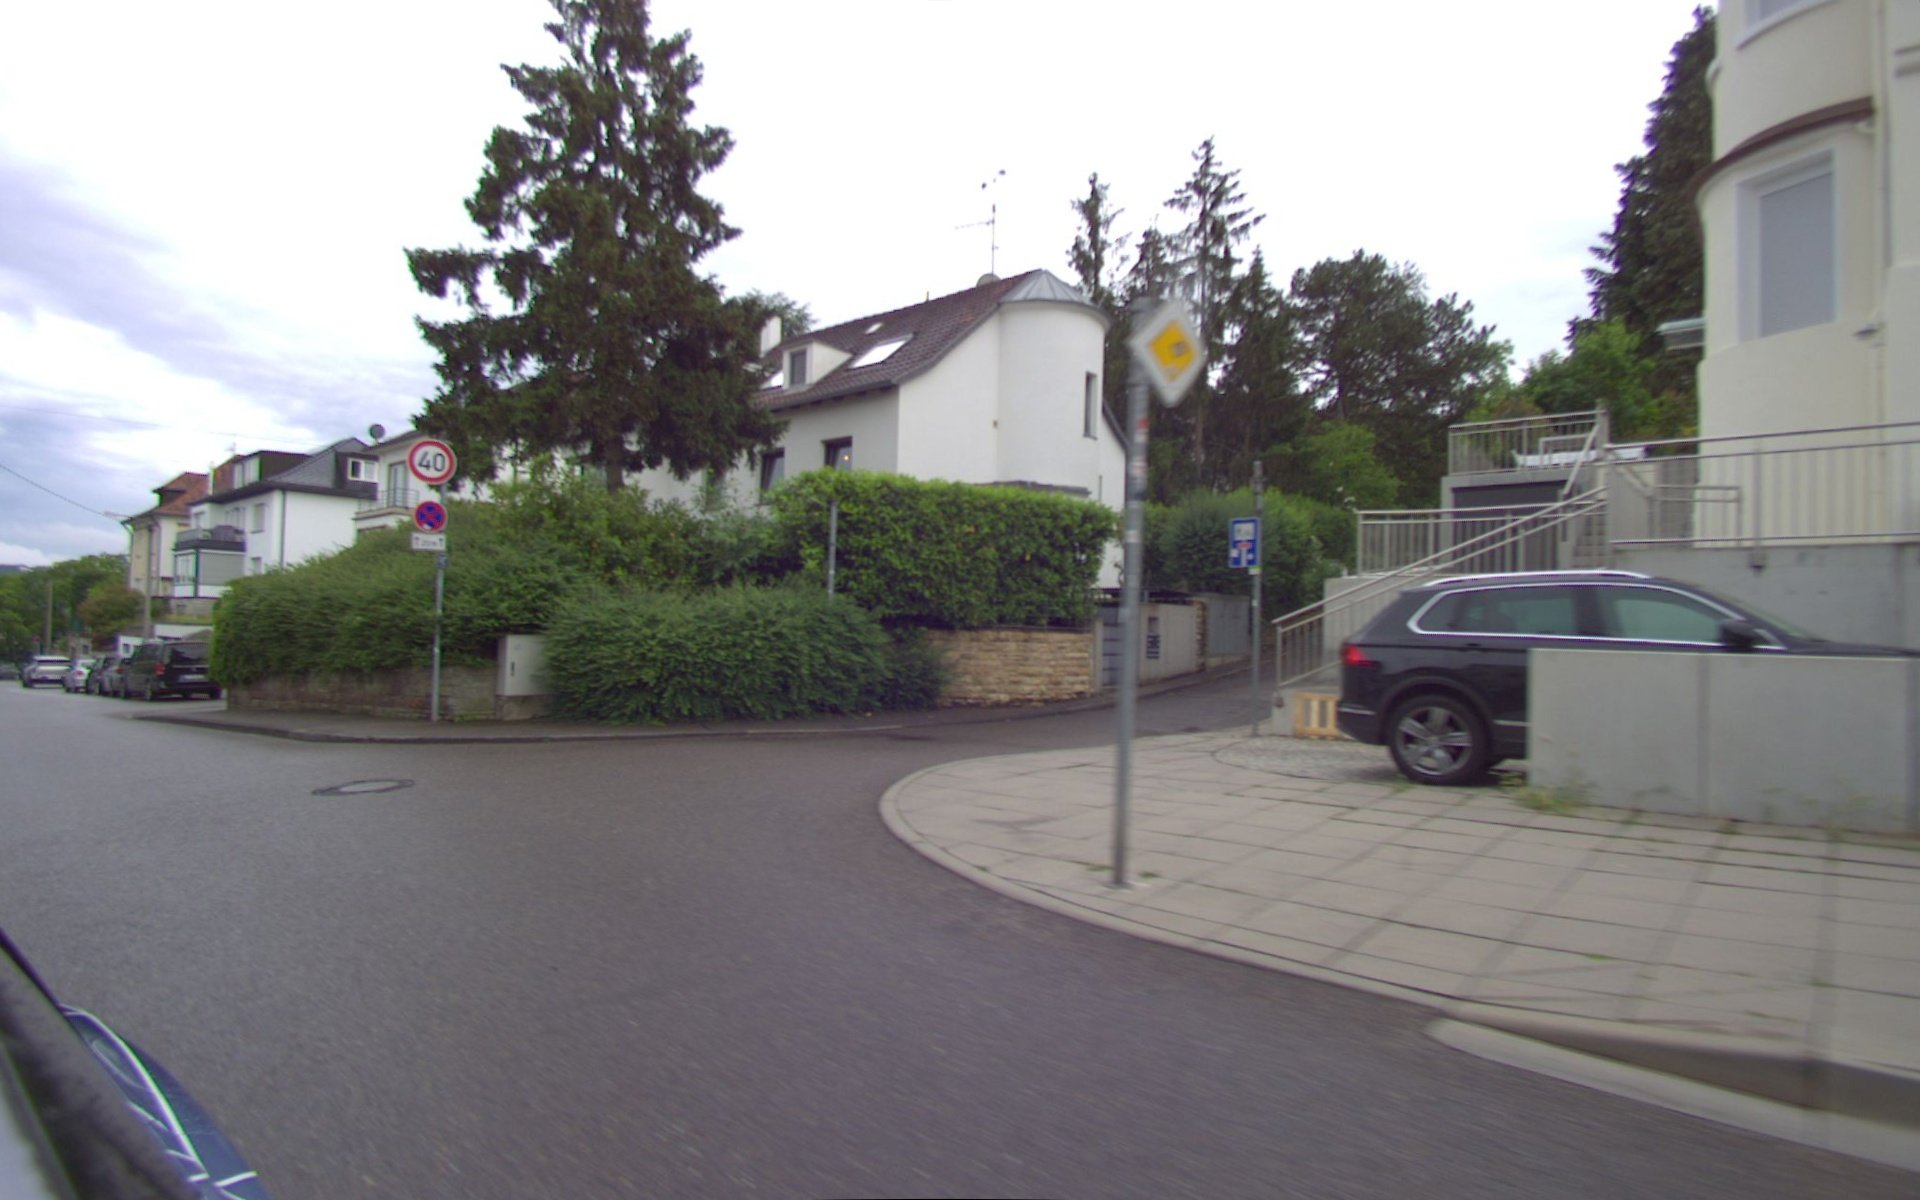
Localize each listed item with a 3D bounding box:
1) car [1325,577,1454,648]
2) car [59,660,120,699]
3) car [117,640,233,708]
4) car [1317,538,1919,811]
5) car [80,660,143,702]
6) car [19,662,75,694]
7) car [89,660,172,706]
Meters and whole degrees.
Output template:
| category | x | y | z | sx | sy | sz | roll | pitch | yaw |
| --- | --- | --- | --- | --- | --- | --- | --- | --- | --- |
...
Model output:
| category | x | y | z | sx | sy | sz | roll | pitch | yaw |
| --- | --- | --- | --- | --- | --- | --- | --- | --- | --- |
| car | 10.874 | 0.276 | 25.469 | 1.820 | 1.568 | 4.322 | -3 | 0 | 39 |
| car | -36.726 | 3.339 | 42.682 | 3.436 | 1.502 | 1.573 | -4 | -3 | 42 |
| car | -25.527 | 2.386 | 32.838 | 4.769 | 1.972 | 1.974 | -4 | -2 | 39 |
| car | 5.033 | 0.527 | 7.718 | 3.994 | 1.630 | 1.749 | -3 | -3 | 38 |
| car | -33.290 | 3.161 | 39.697 | 2.893 | 1.502 | 1.502 | -4 | -3 | 42 |
| car | -46.144 | 3.910 | 51.139 | 4.001 | 1.512 | 1.843 | -3 | -3 | 44 |
| car | -30.175 | 3.002 | 36.771 | 4.401 | 1.502 | 1.674 | -4 | -3 | 41 |
